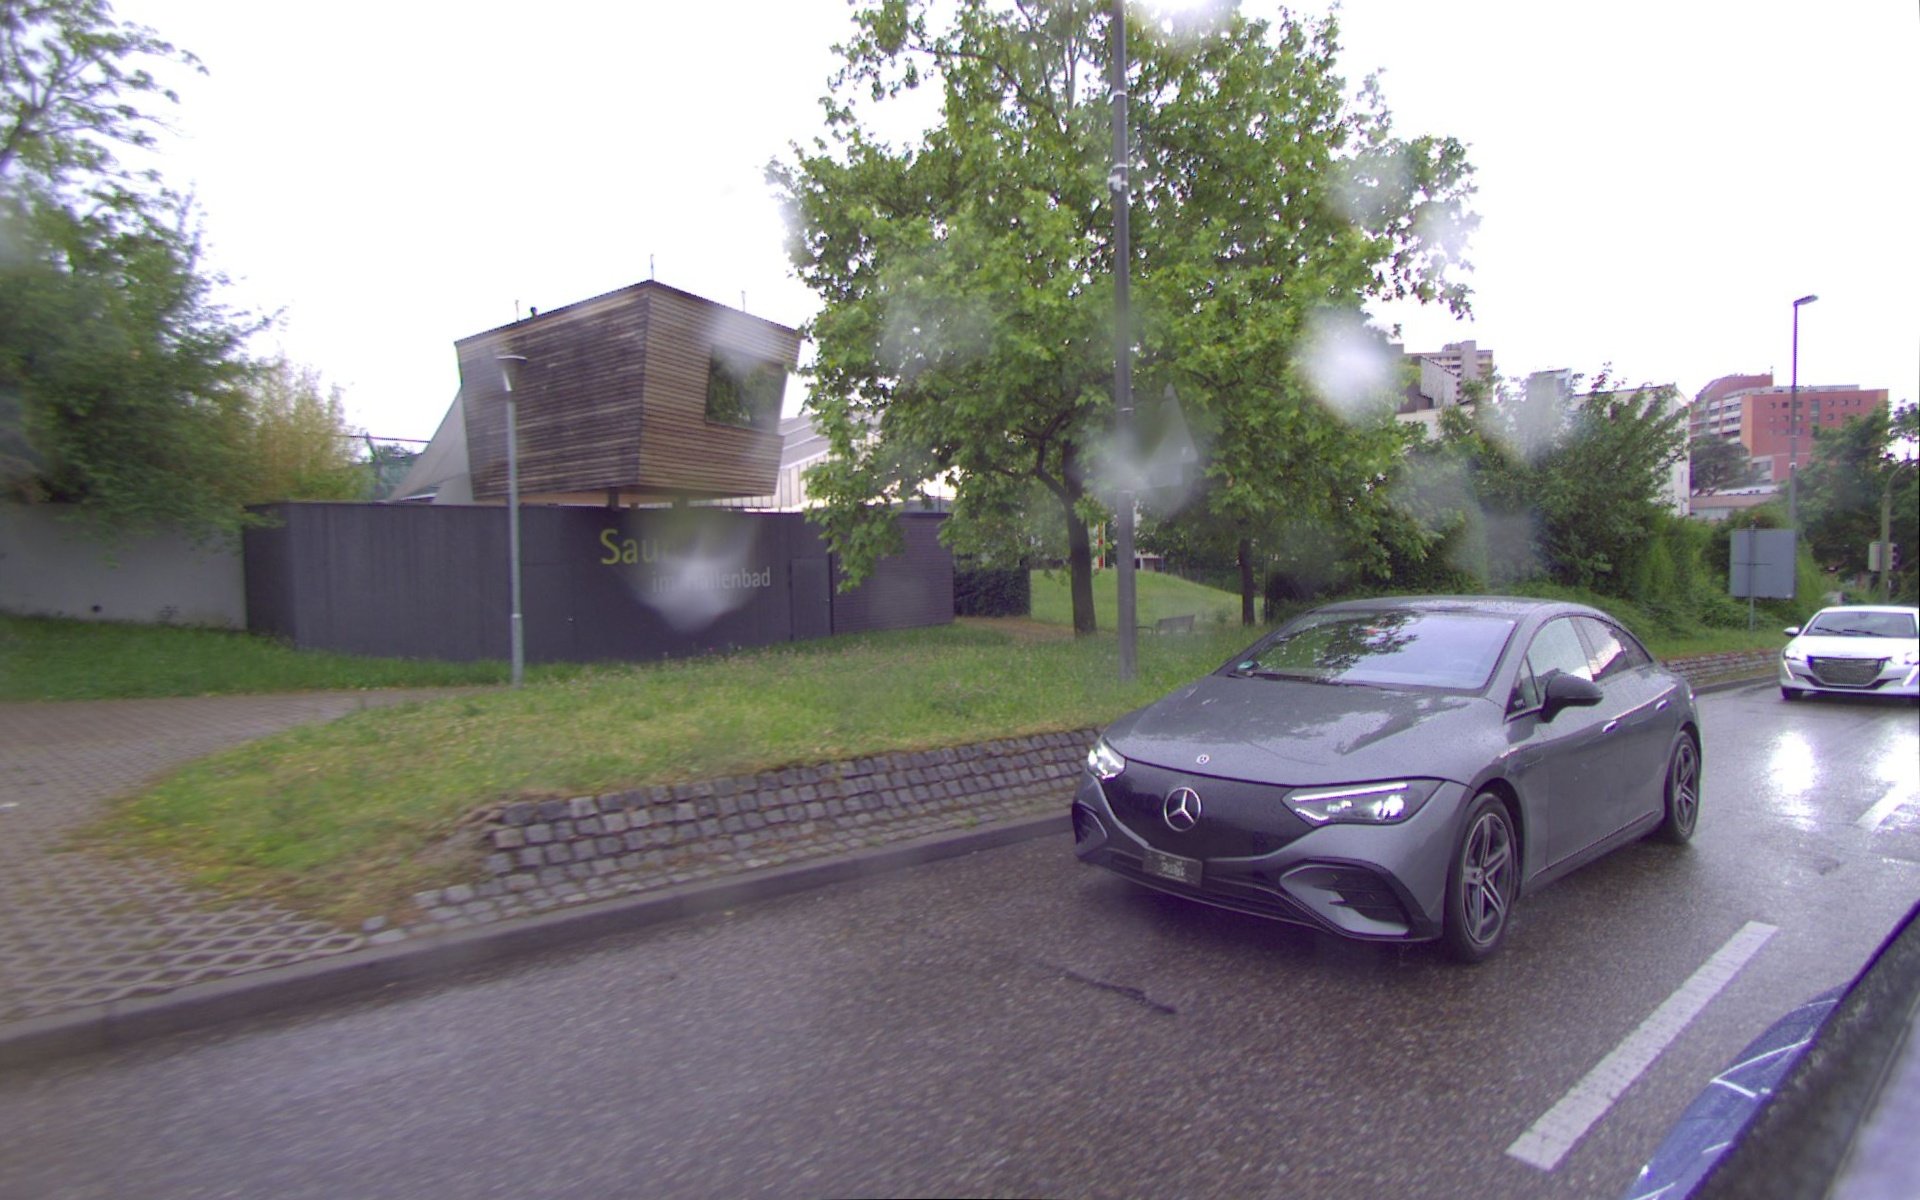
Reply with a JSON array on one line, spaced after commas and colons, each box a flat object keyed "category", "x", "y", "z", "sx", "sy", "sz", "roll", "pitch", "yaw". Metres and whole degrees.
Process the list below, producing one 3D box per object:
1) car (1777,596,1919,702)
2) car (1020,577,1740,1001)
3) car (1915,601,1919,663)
[{"category": "car", "x": 14.409, "y": 0.674, "z": 15.789, "sx": 3.962, "sy": 1.415, "sz": 1.718, "roll": -1, "pitch": 0, "yaw": -38}, {"category": "car", "x": 2.598, "y": 0.628, "z": 5.660, "sx": 4.470, "sy": 1.462, "sz": 1.835, "roll": -1, "pitch": 0, "yaw": -40}, {"category": "car", "x": 23.687, "y": 0.689, "z": 23.455, "sx": 3.667, "sy": 1.394, "sz": 1.718, "roll": -1, "pitch": 0, "yaw": -38}]
